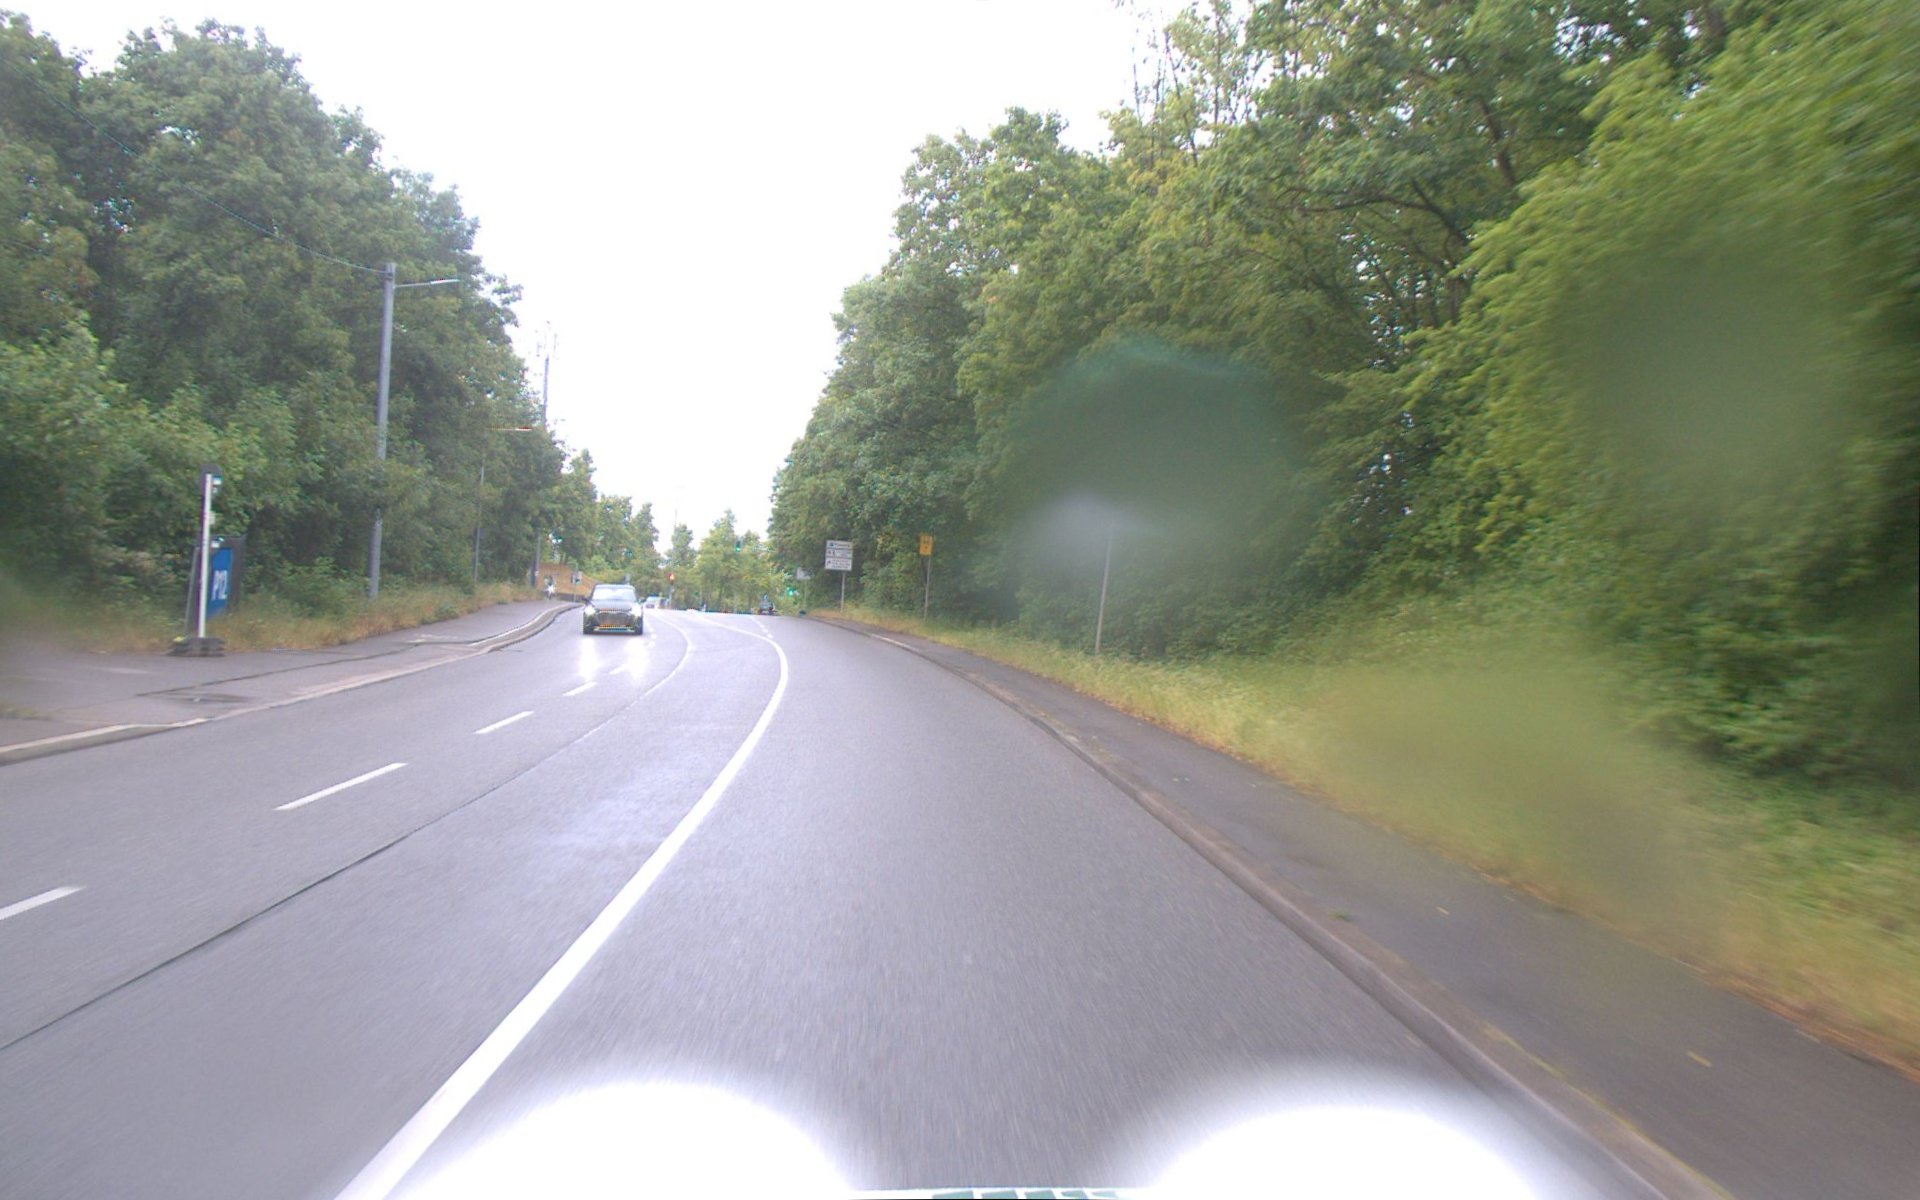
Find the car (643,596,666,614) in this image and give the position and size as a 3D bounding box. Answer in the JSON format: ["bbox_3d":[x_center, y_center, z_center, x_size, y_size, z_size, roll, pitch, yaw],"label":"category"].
[{"bbox_3d":[-33.204,0.538,180.026,1.954,1.881,3.996,1,-1,-4],"label":"car"}]

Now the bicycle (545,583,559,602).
[{"bbox_3d":[-28.966,-0.540,117.458,0.691,1.264,2.160,2,0,-9],"label":"bicycle"}]

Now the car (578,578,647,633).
[{"bbox_3d":[-10.539,0.143,50.398,1.900,1.524,4.307,2,0,-11],"label":"car"}]

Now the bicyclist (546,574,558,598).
[{"bbox_3d":[-28.946,-1.012,117.464,0.691,1.673,0.949,2,0,-9],"label":"bicyclist"}]

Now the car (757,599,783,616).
[{"bbox_3d":[-18.378,0.730,159.838,1.895,1.524,4.318,2,0,1],"label":"car"}]
